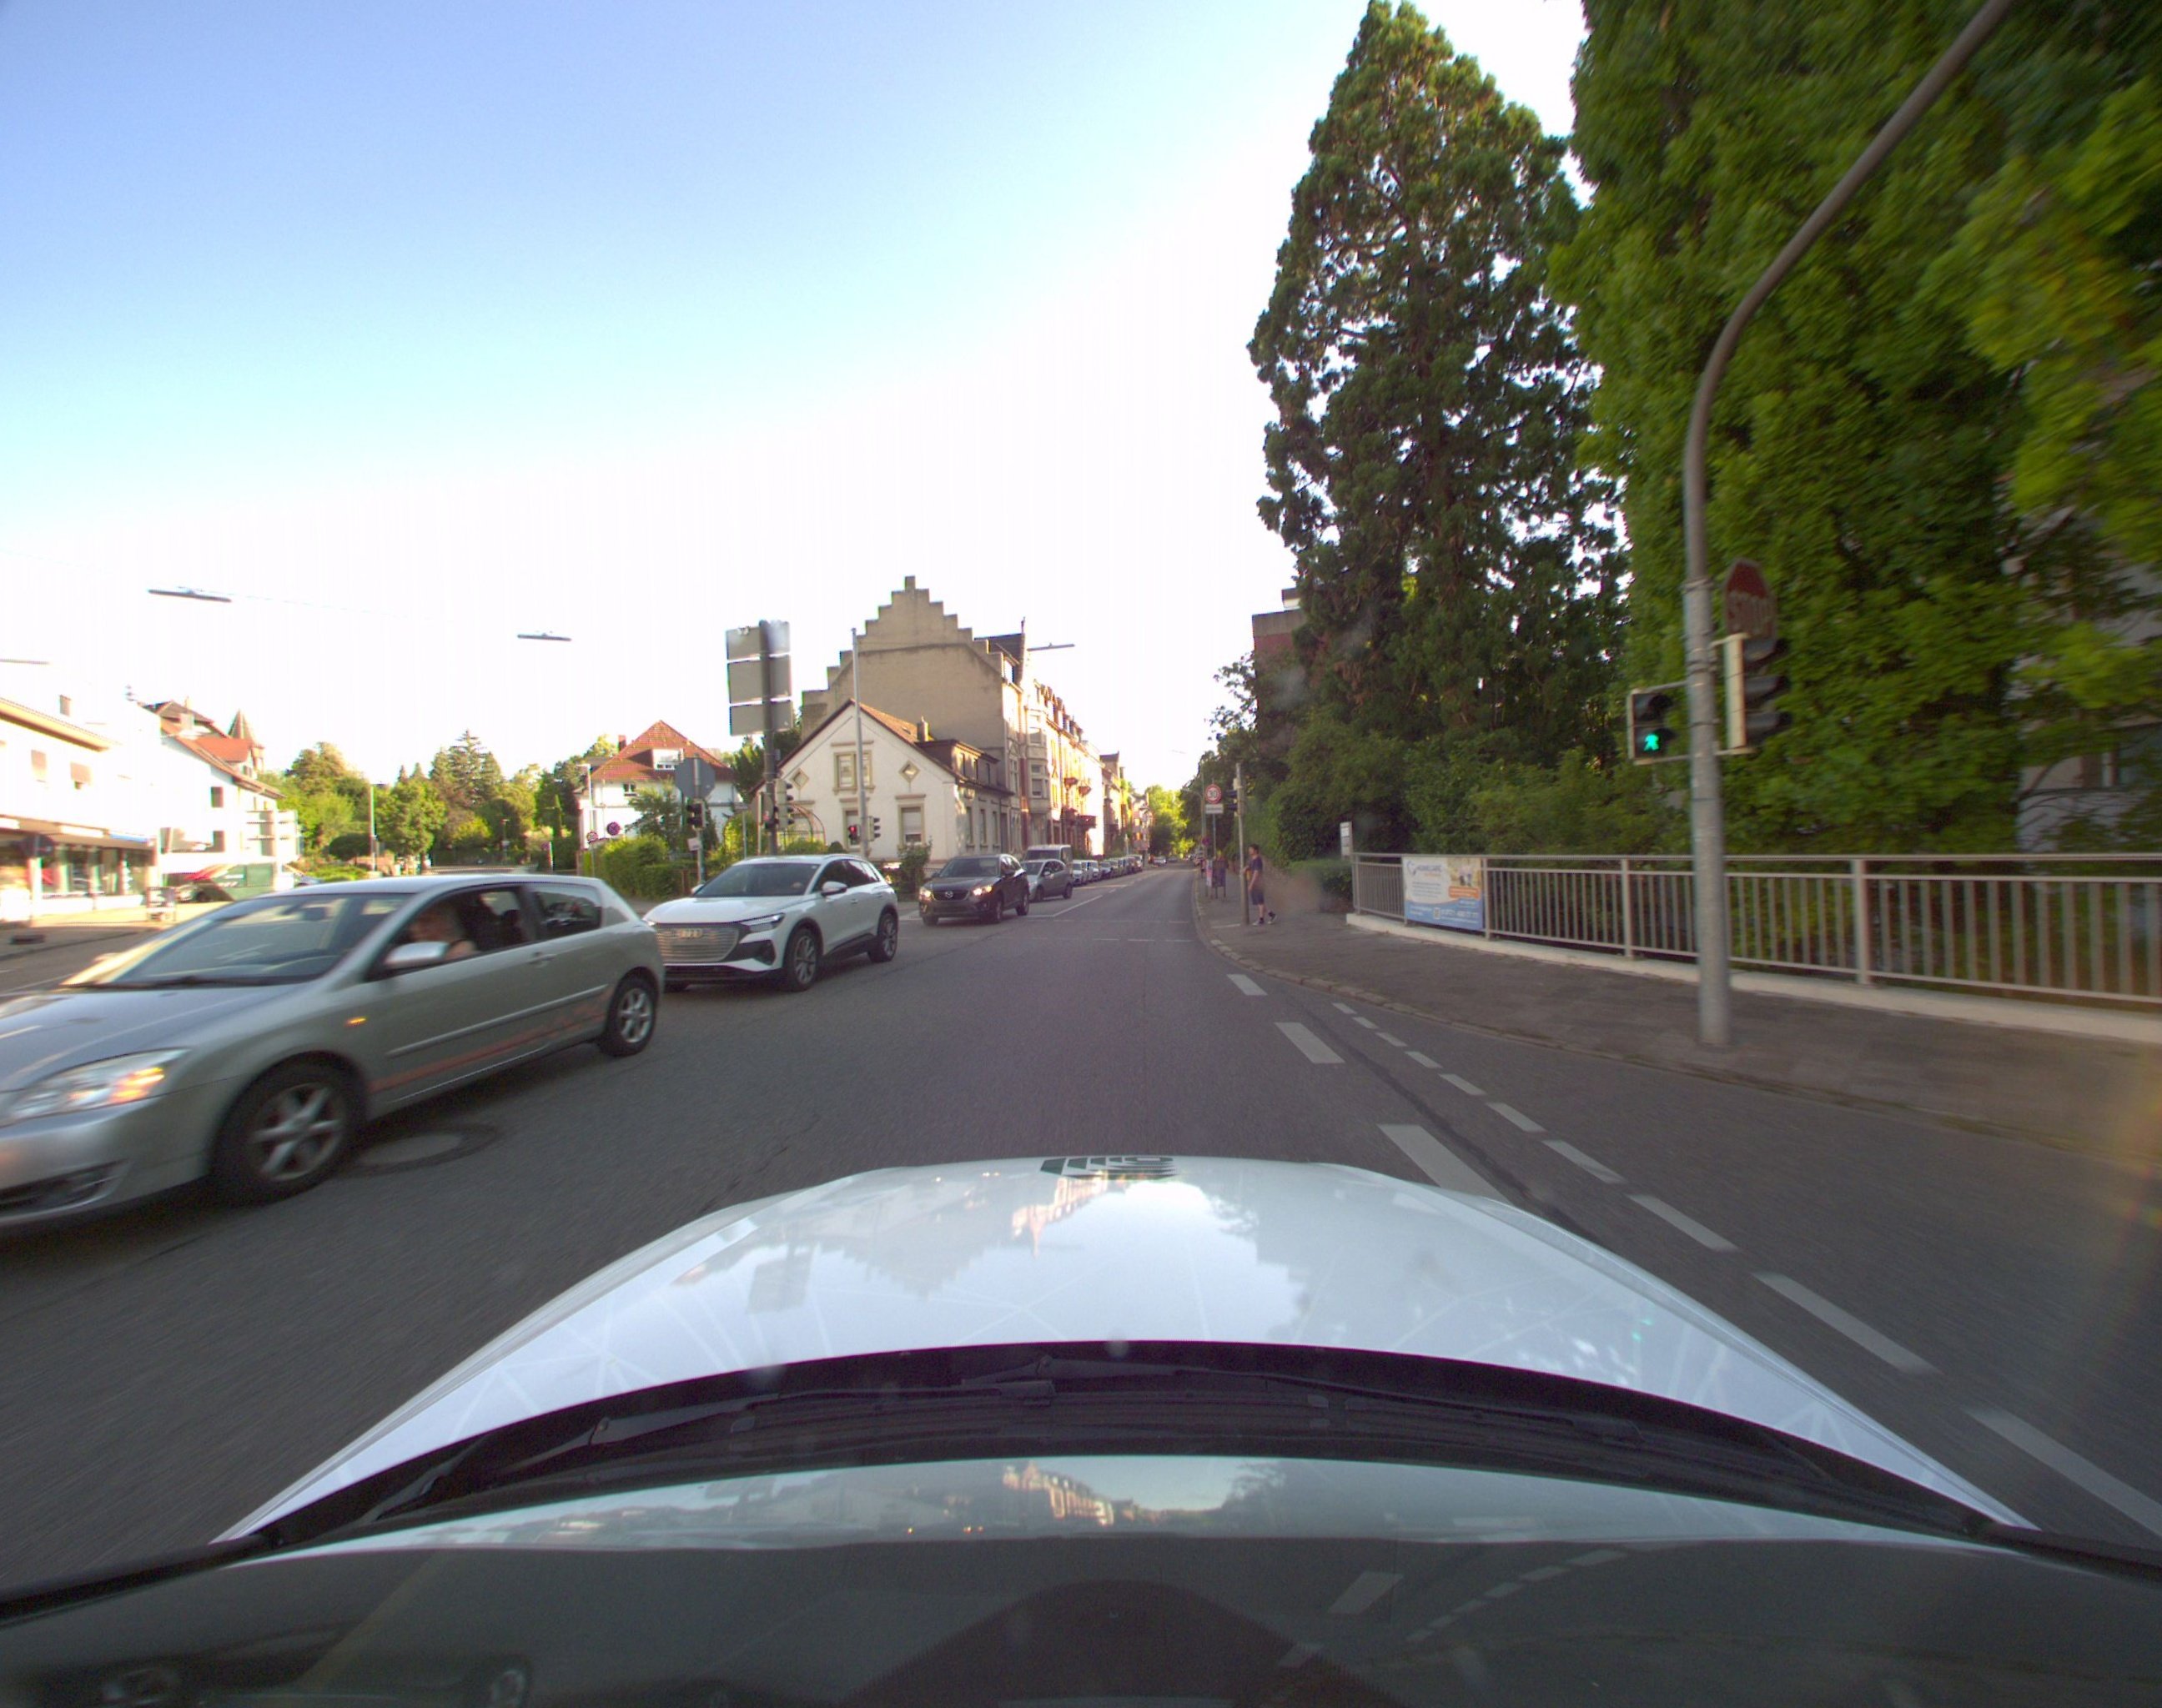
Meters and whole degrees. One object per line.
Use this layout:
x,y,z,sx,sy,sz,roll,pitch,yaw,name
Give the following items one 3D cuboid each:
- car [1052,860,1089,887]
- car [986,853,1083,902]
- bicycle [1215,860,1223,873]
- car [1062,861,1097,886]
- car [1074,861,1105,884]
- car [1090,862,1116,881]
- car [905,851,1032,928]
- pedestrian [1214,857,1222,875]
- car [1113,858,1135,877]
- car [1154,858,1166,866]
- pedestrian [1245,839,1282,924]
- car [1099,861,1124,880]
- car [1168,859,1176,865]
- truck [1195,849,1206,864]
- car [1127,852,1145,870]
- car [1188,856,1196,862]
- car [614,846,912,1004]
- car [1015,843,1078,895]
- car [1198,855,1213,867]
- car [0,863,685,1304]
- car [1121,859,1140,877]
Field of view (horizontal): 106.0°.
-0.593,1.169,48.840,1.693,1.503,3.831,-1,0,7,car
-1.685,0.850,30.889,1.936,1.648,4.307,-1,1,23,car
11.062,0.989,65.404,0.563,0.970,0.493,-1,0,5,bicycle
-0.043,1.273,54.406,1.693,1.503,4.030,-1,0,8,car
0.654,1.338,58.897,1.693,1.536,4.558,-1,0,7,car
1.746,1.362,64.045,1.693,1.366,3.867,-1,0,7,car
-2.633,0.793,20.196,1.942,1.648,4.294,-1,1,8,car
11.137,0.984,66.022,0.594,1.403,0.669,-1,0,6,pedestrian
4.179,1.309,79.015,1.692,1.708,4.451,-1,0,9,car
15.074,1.518,155.564,1.982,1.491,4.481,-3,0,8,car
3.730,0.554,16.686,0.599,1.693,0.613,-3,0,7,pedestrian
2.607,1.399,69.064,1.693,1.503,4.080,-1,-2,7,car
24.872,2.091,221.539,1.982,1.491,4.481,-3,0,8,car
23.839,0.477,163.096,1.982,2.896,4.480,-3,0,8,truck
6.365,0.812,94.656,1.783,2.010,4.707,-1,0,7,car
32.403,1.507,237.249,1.984,1.491,4.477,-3,0,5,car
-3.845,0.737,10.878,1.766,1.648,4.542,-1,1,6,car
-1.684,0.719,42.190,2.056,2.460,6.028,-1,0,9,car
18.656,1.053,122.049,1.981,1.517,4.011,-3,0,10,car
-4.370,0.861,4.970,1.769,1.480,4.098,-1,1,2,car
5.107,1.437,84.162,1.693,1.738,3.864,-1,0,7,car
